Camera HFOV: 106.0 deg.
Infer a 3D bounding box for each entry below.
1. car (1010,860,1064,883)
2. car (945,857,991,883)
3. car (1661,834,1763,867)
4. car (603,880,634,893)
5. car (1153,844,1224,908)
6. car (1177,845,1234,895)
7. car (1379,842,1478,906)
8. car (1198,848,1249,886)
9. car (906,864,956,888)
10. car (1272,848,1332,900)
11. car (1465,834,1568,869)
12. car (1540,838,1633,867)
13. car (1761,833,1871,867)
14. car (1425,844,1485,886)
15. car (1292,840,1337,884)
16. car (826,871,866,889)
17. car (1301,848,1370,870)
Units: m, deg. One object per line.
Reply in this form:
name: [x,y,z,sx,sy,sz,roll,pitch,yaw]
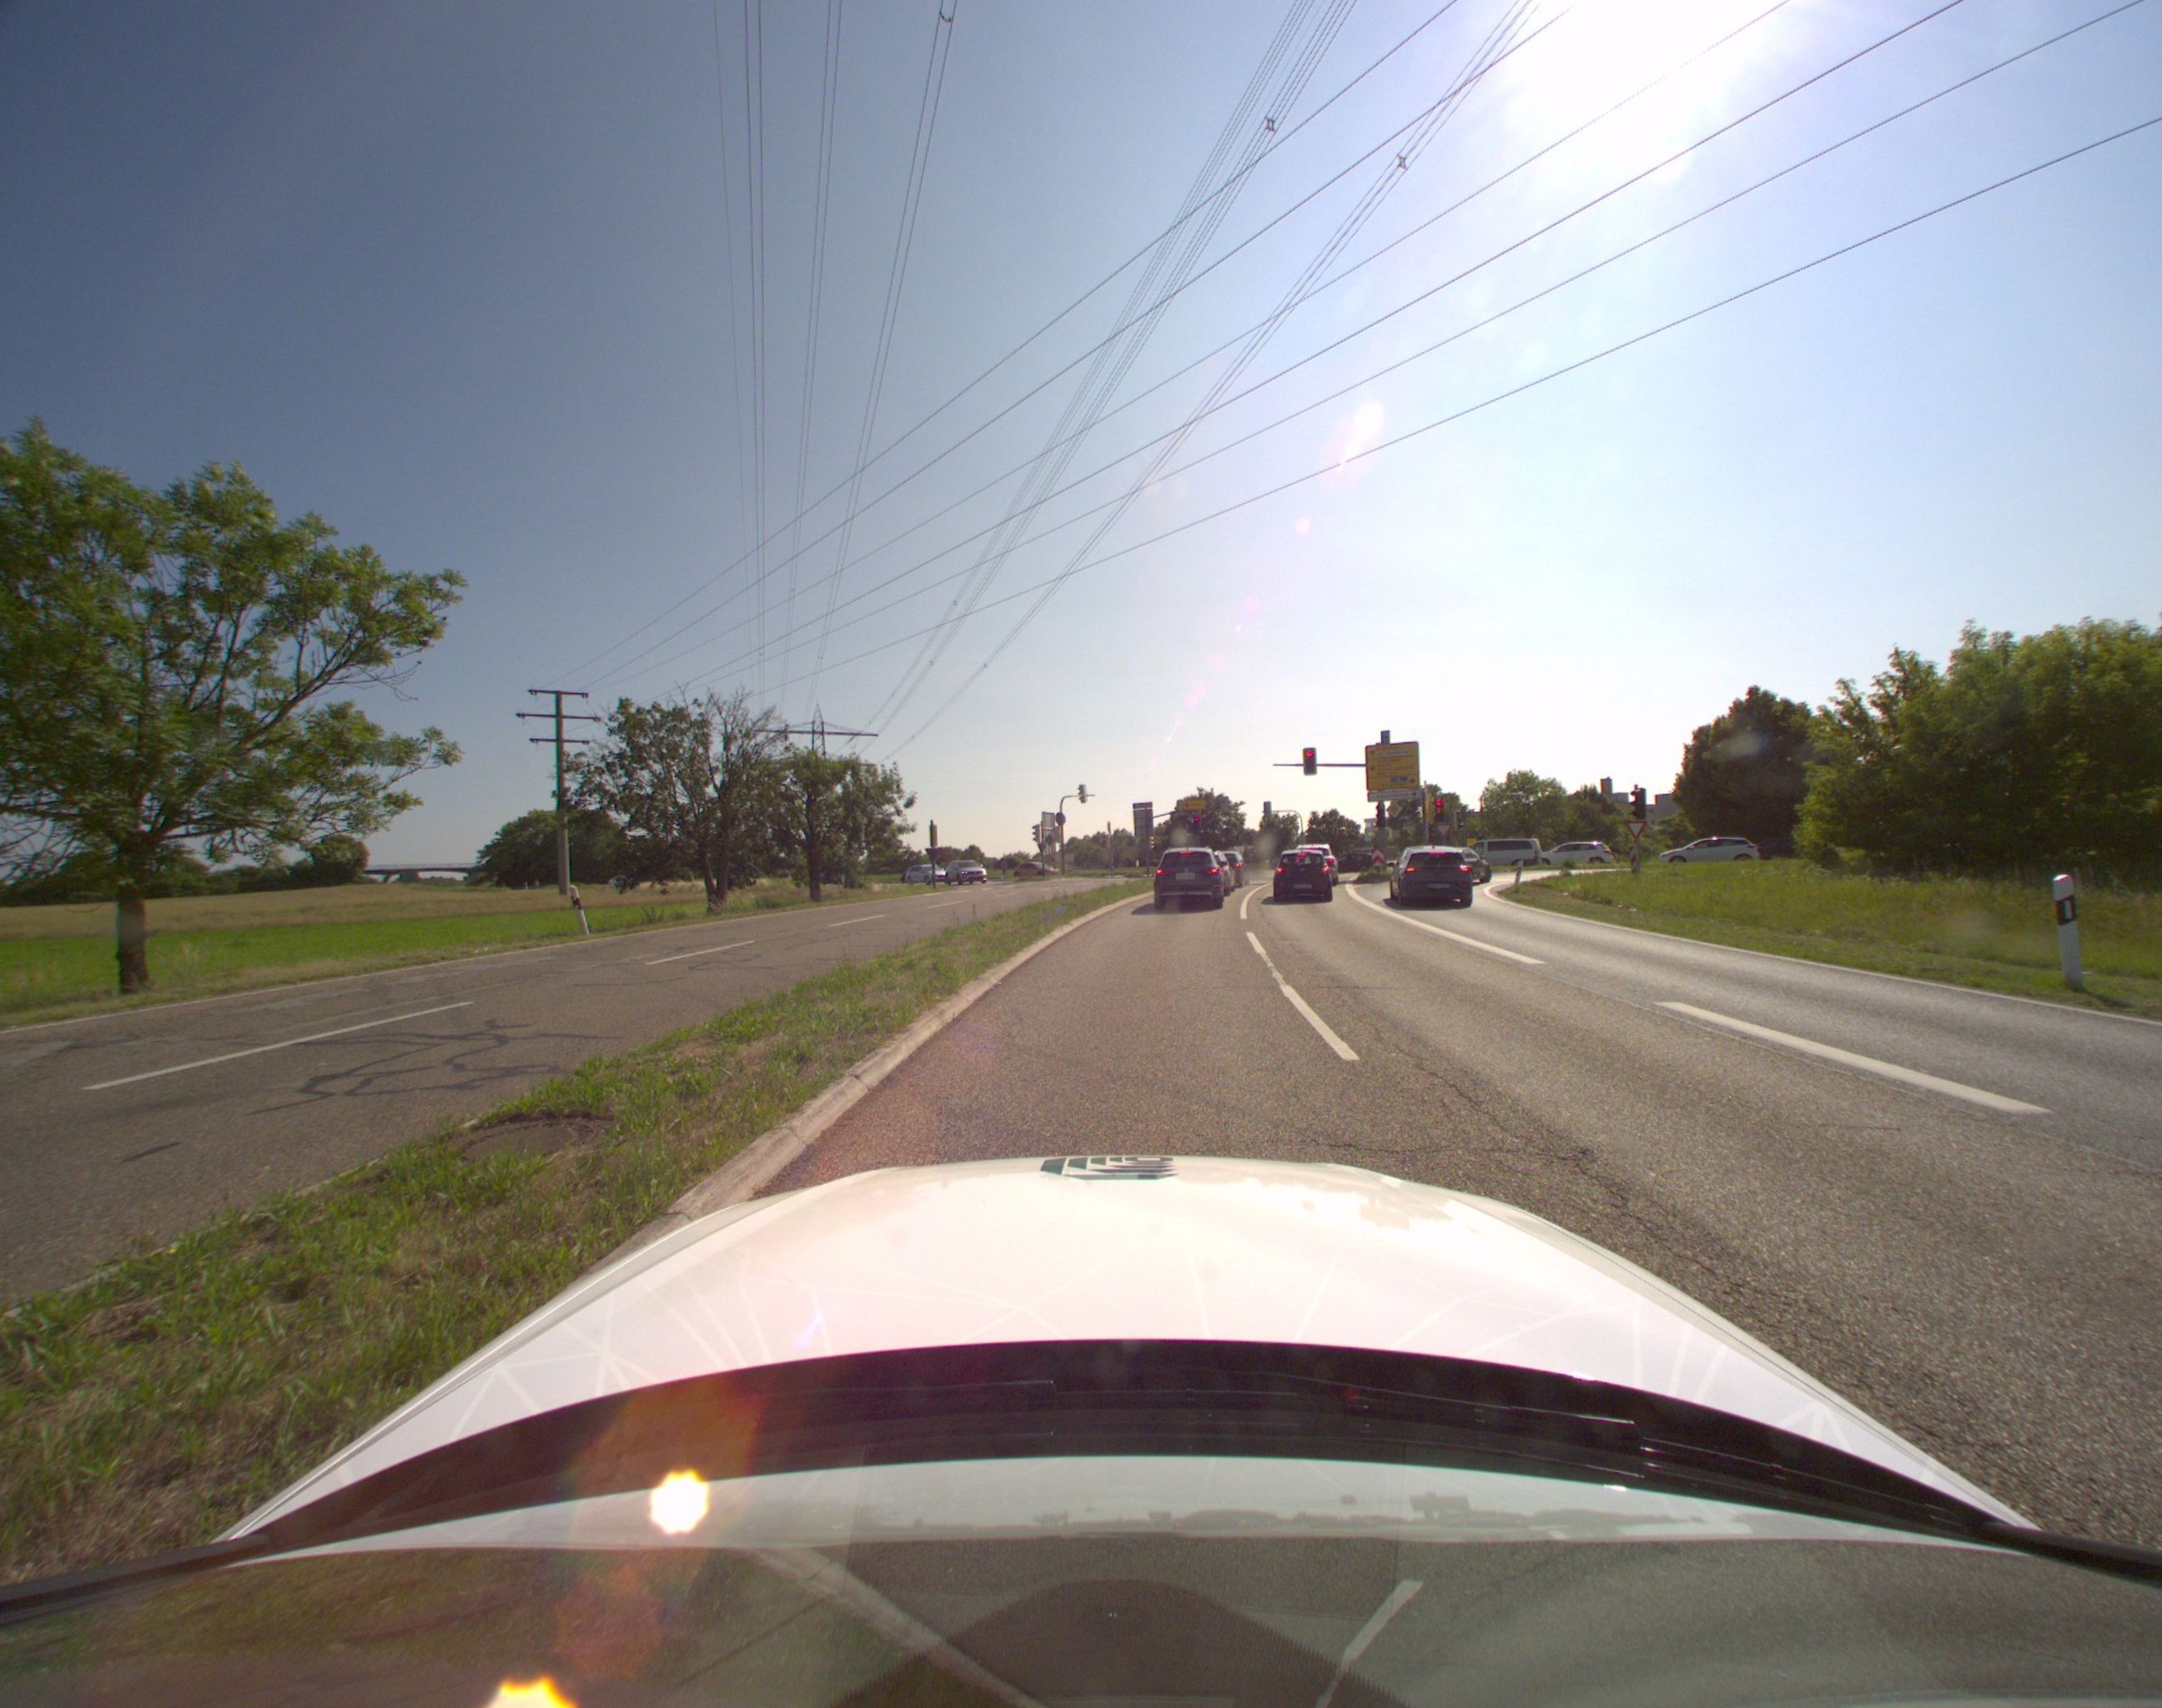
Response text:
car: [-3.479,1.397,64.110,3.948,1.651,1.832,-2,-1,38]
car: [-7.491,1.055,53.773,1.824,1.651,3.965,-1,-1,-26]
car: [30.990,-0.152,40.096,3.861,1.465,1.734,-2,-1,38]
car: [-58.755,4.111,103.438,4.699,1.651,1.832,-2,-1,38]
car: [3.014,0.554,22.289,1.731,1.569,3.634,-2,0,10]
car: [4.266,0.511,27.534,1.731,1.569,3.635,0,0,11]
car: [9.338,0.471,22.198,1.760,1.517,4.114,-2,0,13]
car: [5.943,0.502,33.630,1.729,1.484,3.639,0,0,15]
car: [-11.010,1.600,59.537,1.829,1.651,3.953,-1,-1,-40]
car: [6.707,0.551,24.557,1.620,1.448,3.309,-1,0,17]
car: [24.364,-0.127,45.636,4.884,1.918,2.013,-1,0,34]
car: [28.699,-0.070,46.278,4.279,1.519,1.819,-2,-1,36]
car: [36.448,-0.166,40.510,3.830,1.519,1.819,-2,-1,36]
car: [13.856,0.370,30.070,1.625,1.385,4.025,-2,0,30]
car: [9.583,0.326,33.305,1.620,1.677,3.766,-1,0,17]
car: [-23.385,2.614,81.061,3.948,1.651,1.832,-2,-1,38]
car: [17.133,0.346,54.973,4.050,1.416,1.728,-2,0,37]
